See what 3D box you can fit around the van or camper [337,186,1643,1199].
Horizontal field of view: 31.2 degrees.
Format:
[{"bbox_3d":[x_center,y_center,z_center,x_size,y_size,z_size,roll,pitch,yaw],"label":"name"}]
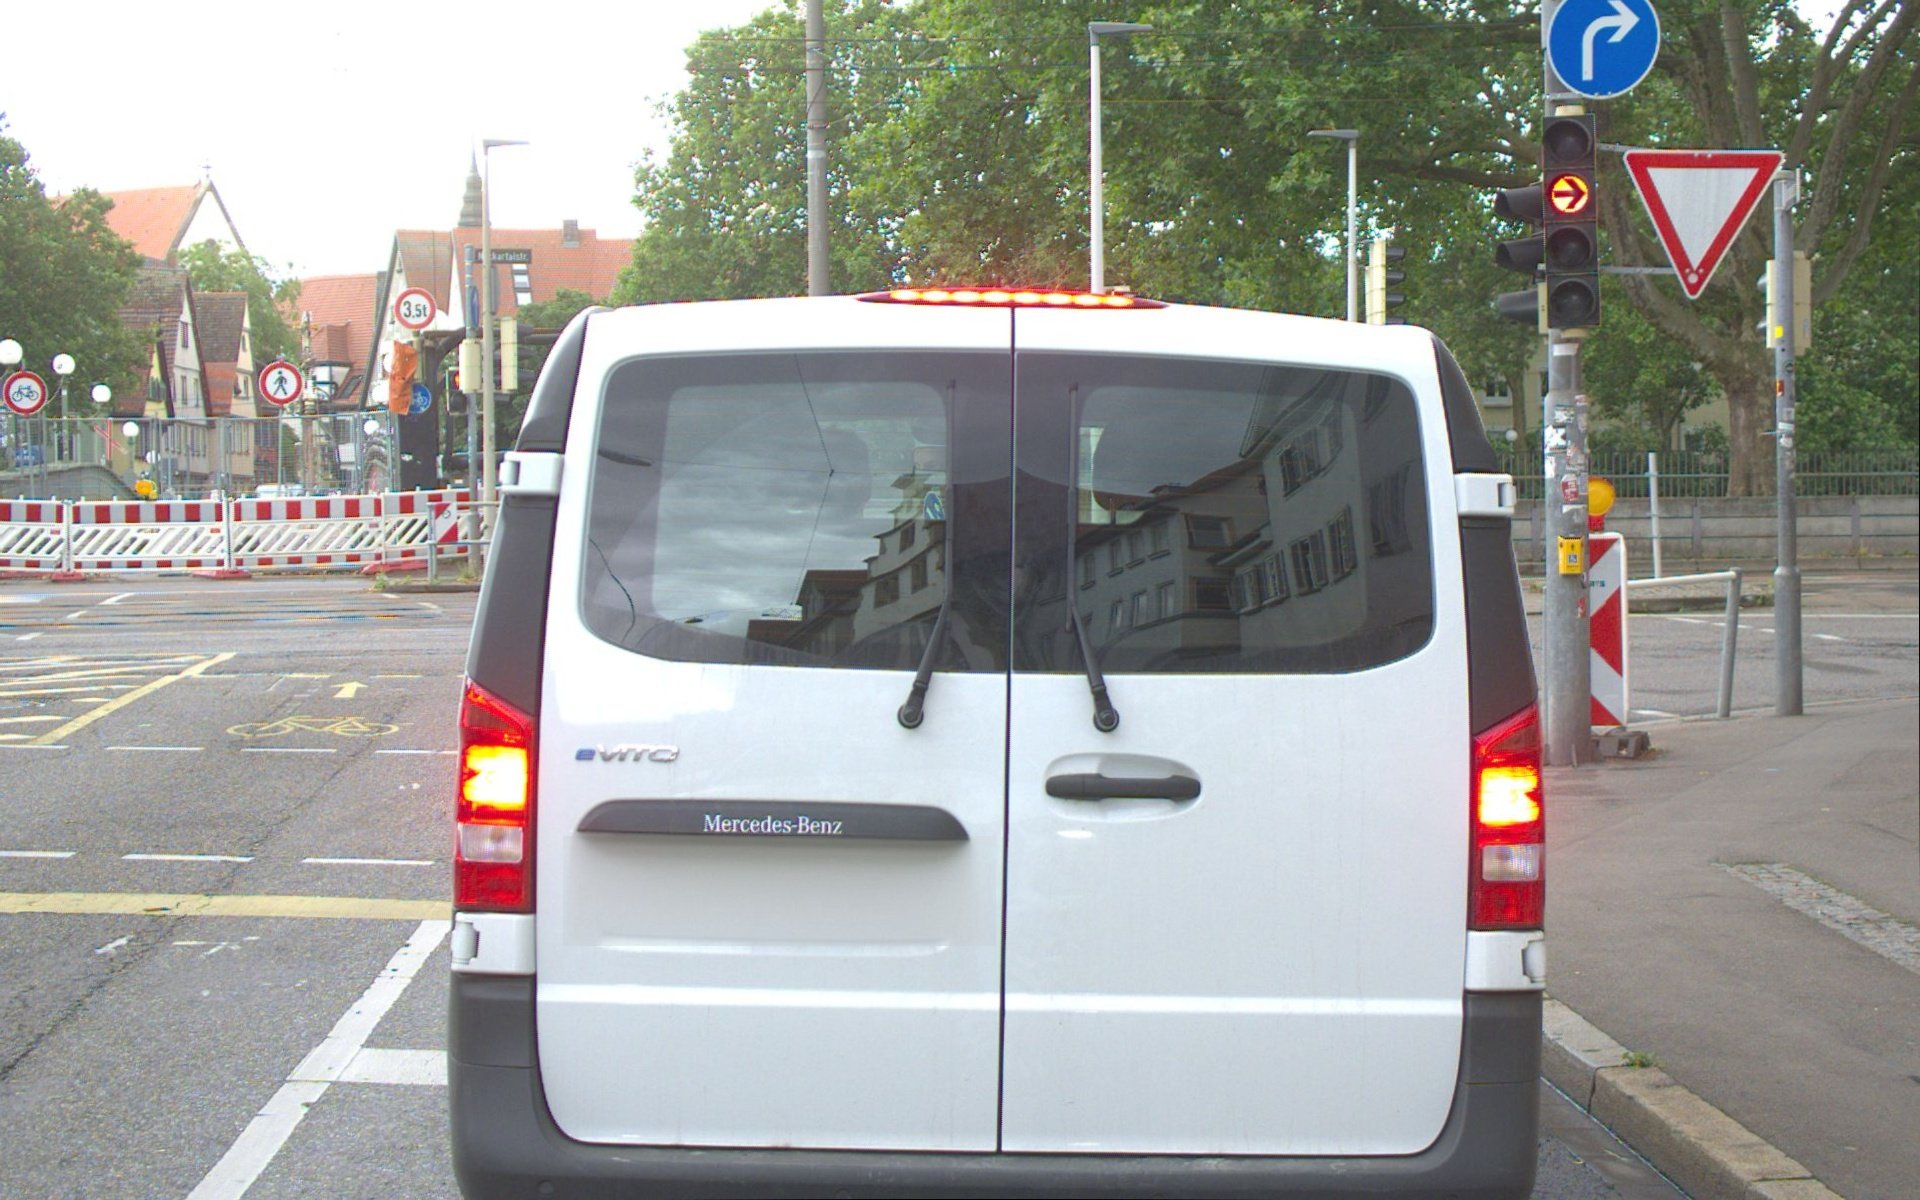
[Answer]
[{"bbox_3d":[-0.066,0.268,7.394,1.937,1.918,4.442,1,2,-3],"label":"van or camper"}]
